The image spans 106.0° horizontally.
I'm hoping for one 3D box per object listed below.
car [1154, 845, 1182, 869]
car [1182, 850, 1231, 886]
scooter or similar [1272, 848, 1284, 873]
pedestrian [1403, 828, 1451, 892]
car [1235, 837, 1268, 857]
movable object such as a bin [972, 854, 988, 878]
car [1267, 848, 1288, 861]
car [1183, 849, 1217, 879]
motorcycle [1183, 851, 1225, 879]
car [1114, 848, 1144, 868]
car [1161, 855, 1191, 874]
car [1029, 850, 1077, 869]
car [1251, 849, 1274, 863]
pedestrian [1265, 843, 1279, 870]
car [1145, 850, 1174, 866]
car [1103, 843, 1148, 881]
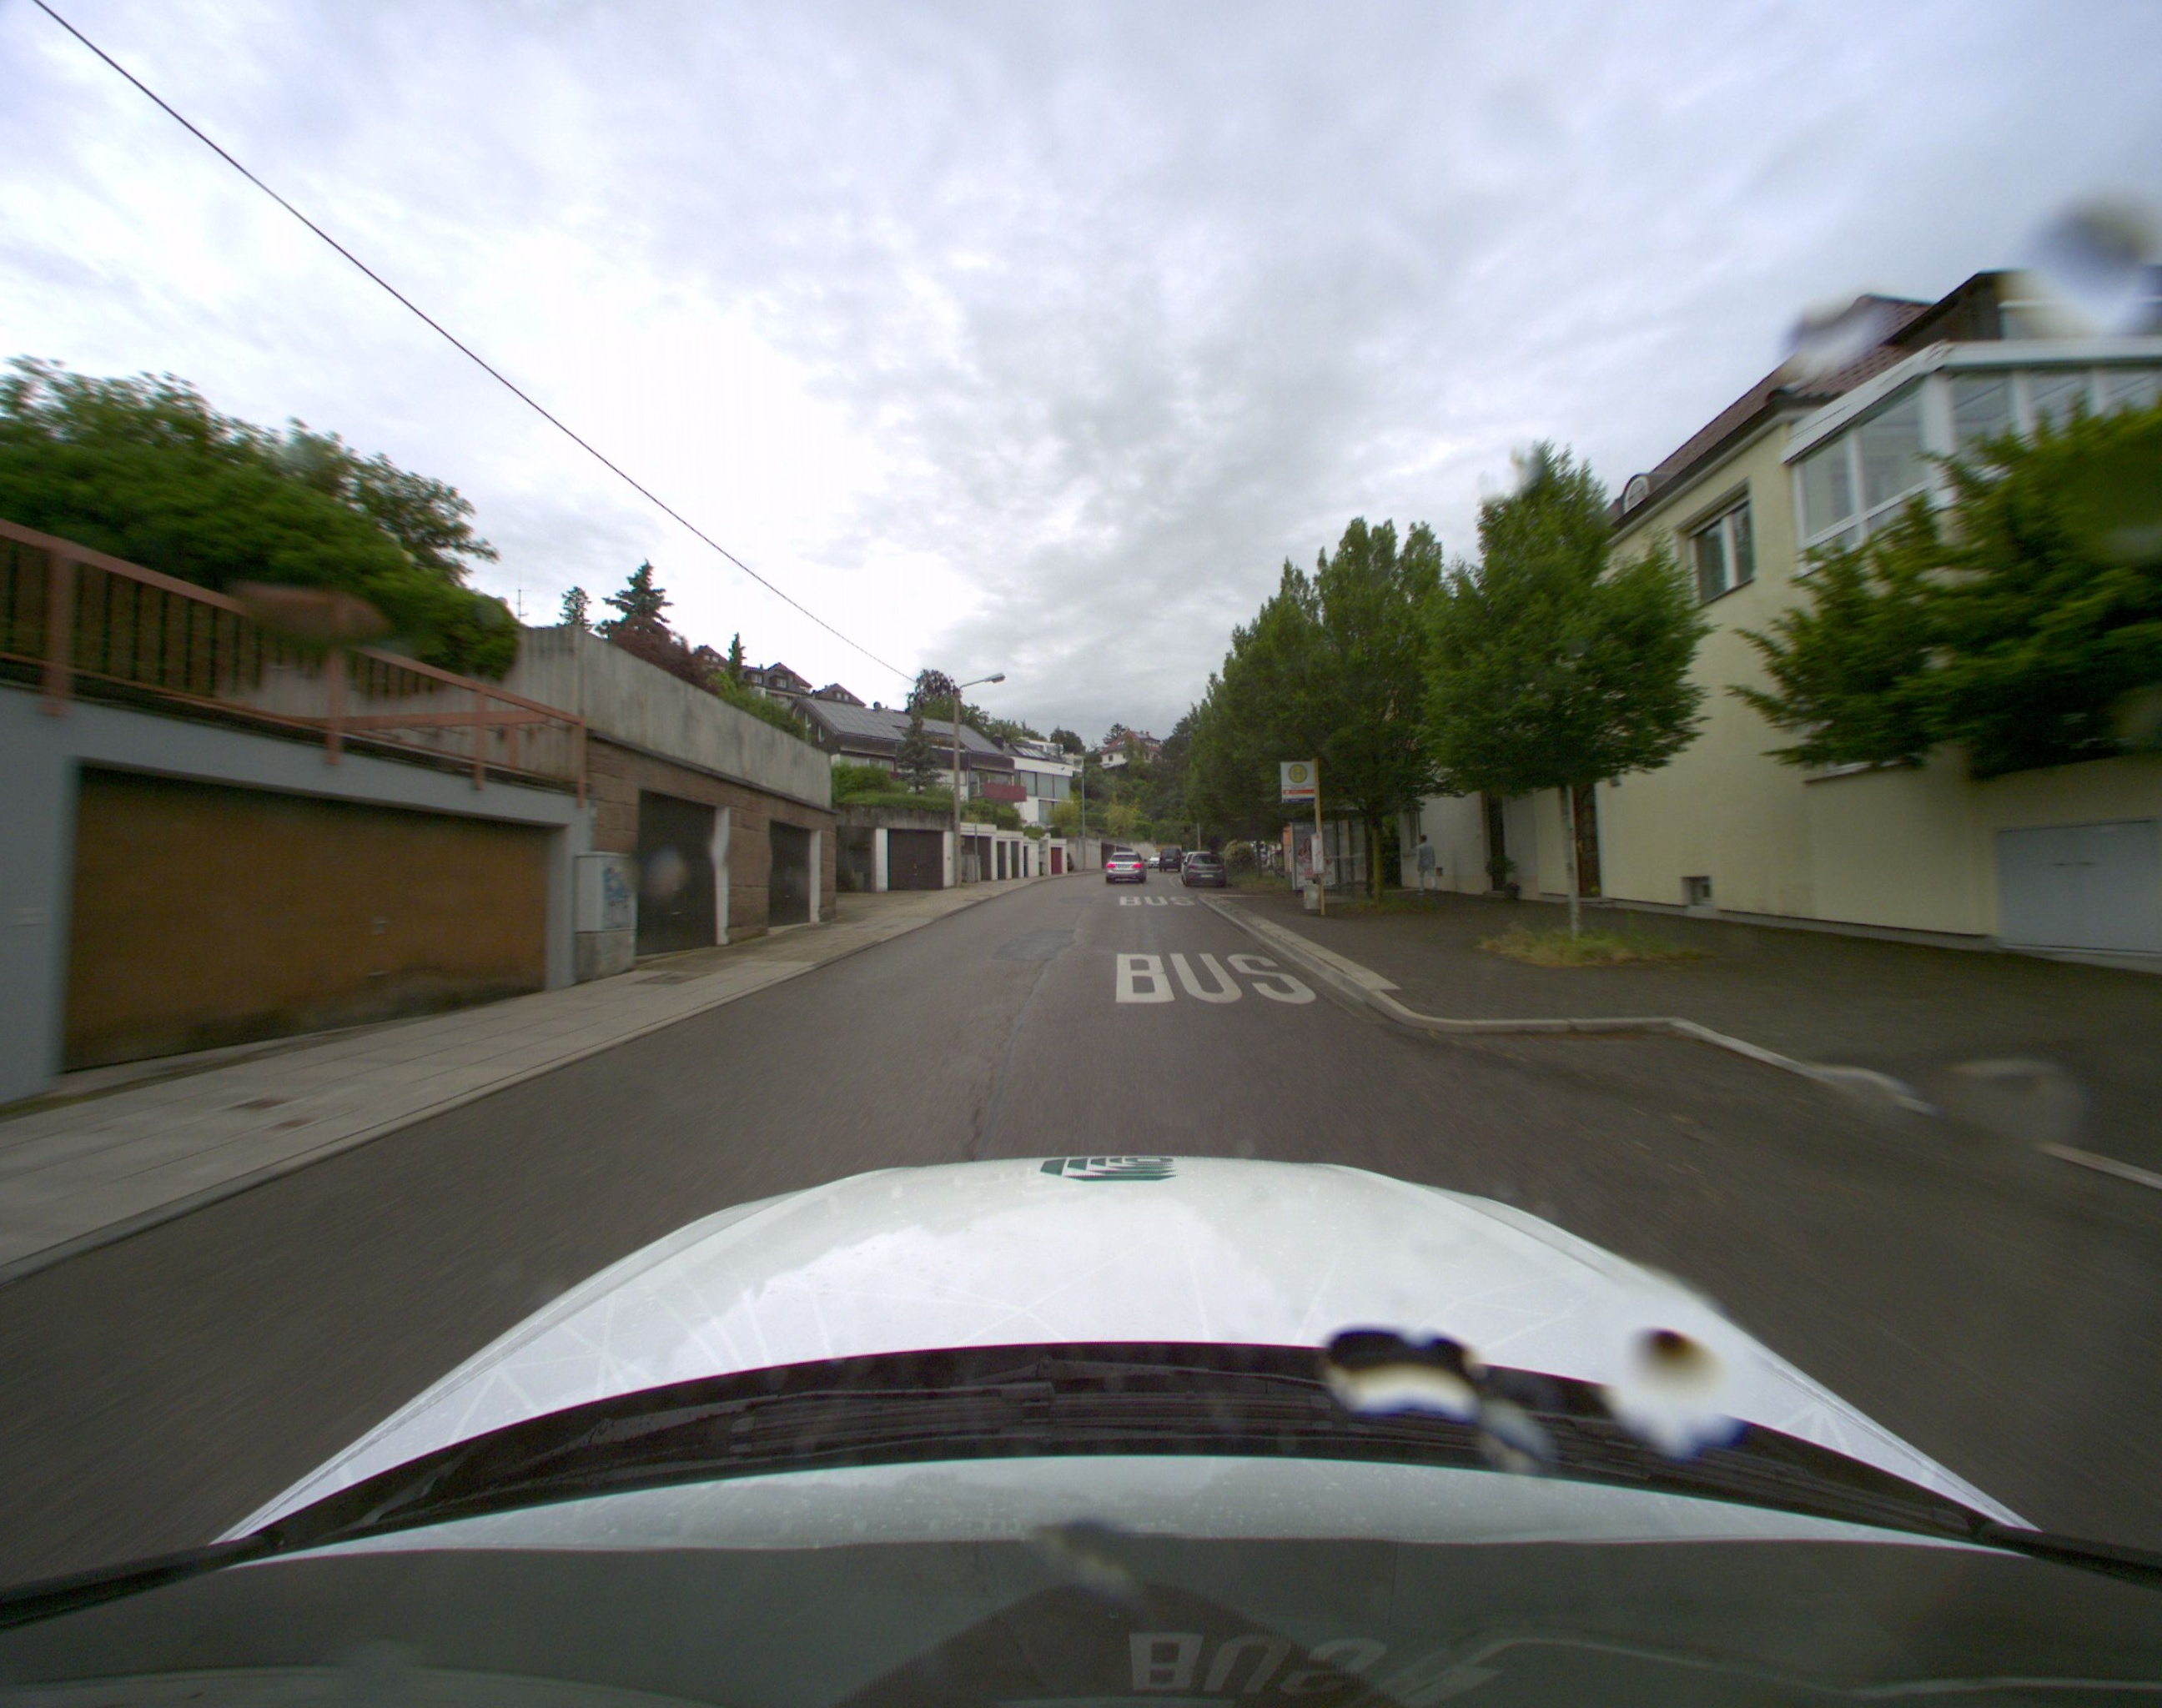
[{"bbox_3d":[6.722,0.212,62.714,1.982,1.708,4.009,-1,0,8],"label":"car"},{"bbox_3d":[5.460,0.561,35.882,1.869,1.416,4.475,-1,1,6],"label":"car"},{"bbox_3d":[9.938,0.321,41.012,0.411,1.245,1.177,-2,0,7],"label":"scooter or similar"},{"bbox_3d":[9.544,0.153,22.515,0.829,1.686,1.046,-4,0,4],"label":"pedestrian"},{"bbox_3d":[22.754,-0.950,108.380,2.074,2.550,6.137,-2,0,34],"label":"car"},{"bbox_3d":[-4.882,0.597,39.347,0.604,1.146,0.522,1,-1,-43],"label":"movable object such as a bin"},{"bbox_3d":[22.940,0.048,95.171,1.611,1.562,3.041,-1,1,28],"label":"car"},{"bbox_3d":[6.096,0.480,41.947,1.648,1.489,4.008,0,0,7],"label":"car"},{"bbox_3d":[5.882,0.528,39.125,1.906,1.329,0.788,0,0,1],"label":"motorcycle"},{"bbox_3d":[4.013,0.334,67.942,1.614,1.516,3.850,-2,0,17],"label":"car"},{"bbox_3d":[8.788,0.928,74.895,1.978,1.708,4.018,-1,0,17],"label":"car"},{"bbox_3d":[-2.324,0.403,66.542,3.883,1.478,1.778,1,1,45],"label":"car"},{"bbox_3d":[19.846,0.231,88.991,1.653,1.471,3.732,0,1,27],"label":"car"},{"bbox_3d":[12.765,0.167,54.455,0.755,1.720,0.905,-4,0,11],"label":"pedestrian"},{"bbox_3d":[7.668,0.415,79.263,1.817,1.440,4.060,-2,0,20],"label":"car"},{"bbox_3d":[2.125,0.367,39.225,2.017,1.708,4.219,-1,0,3],"label":"car"}]
